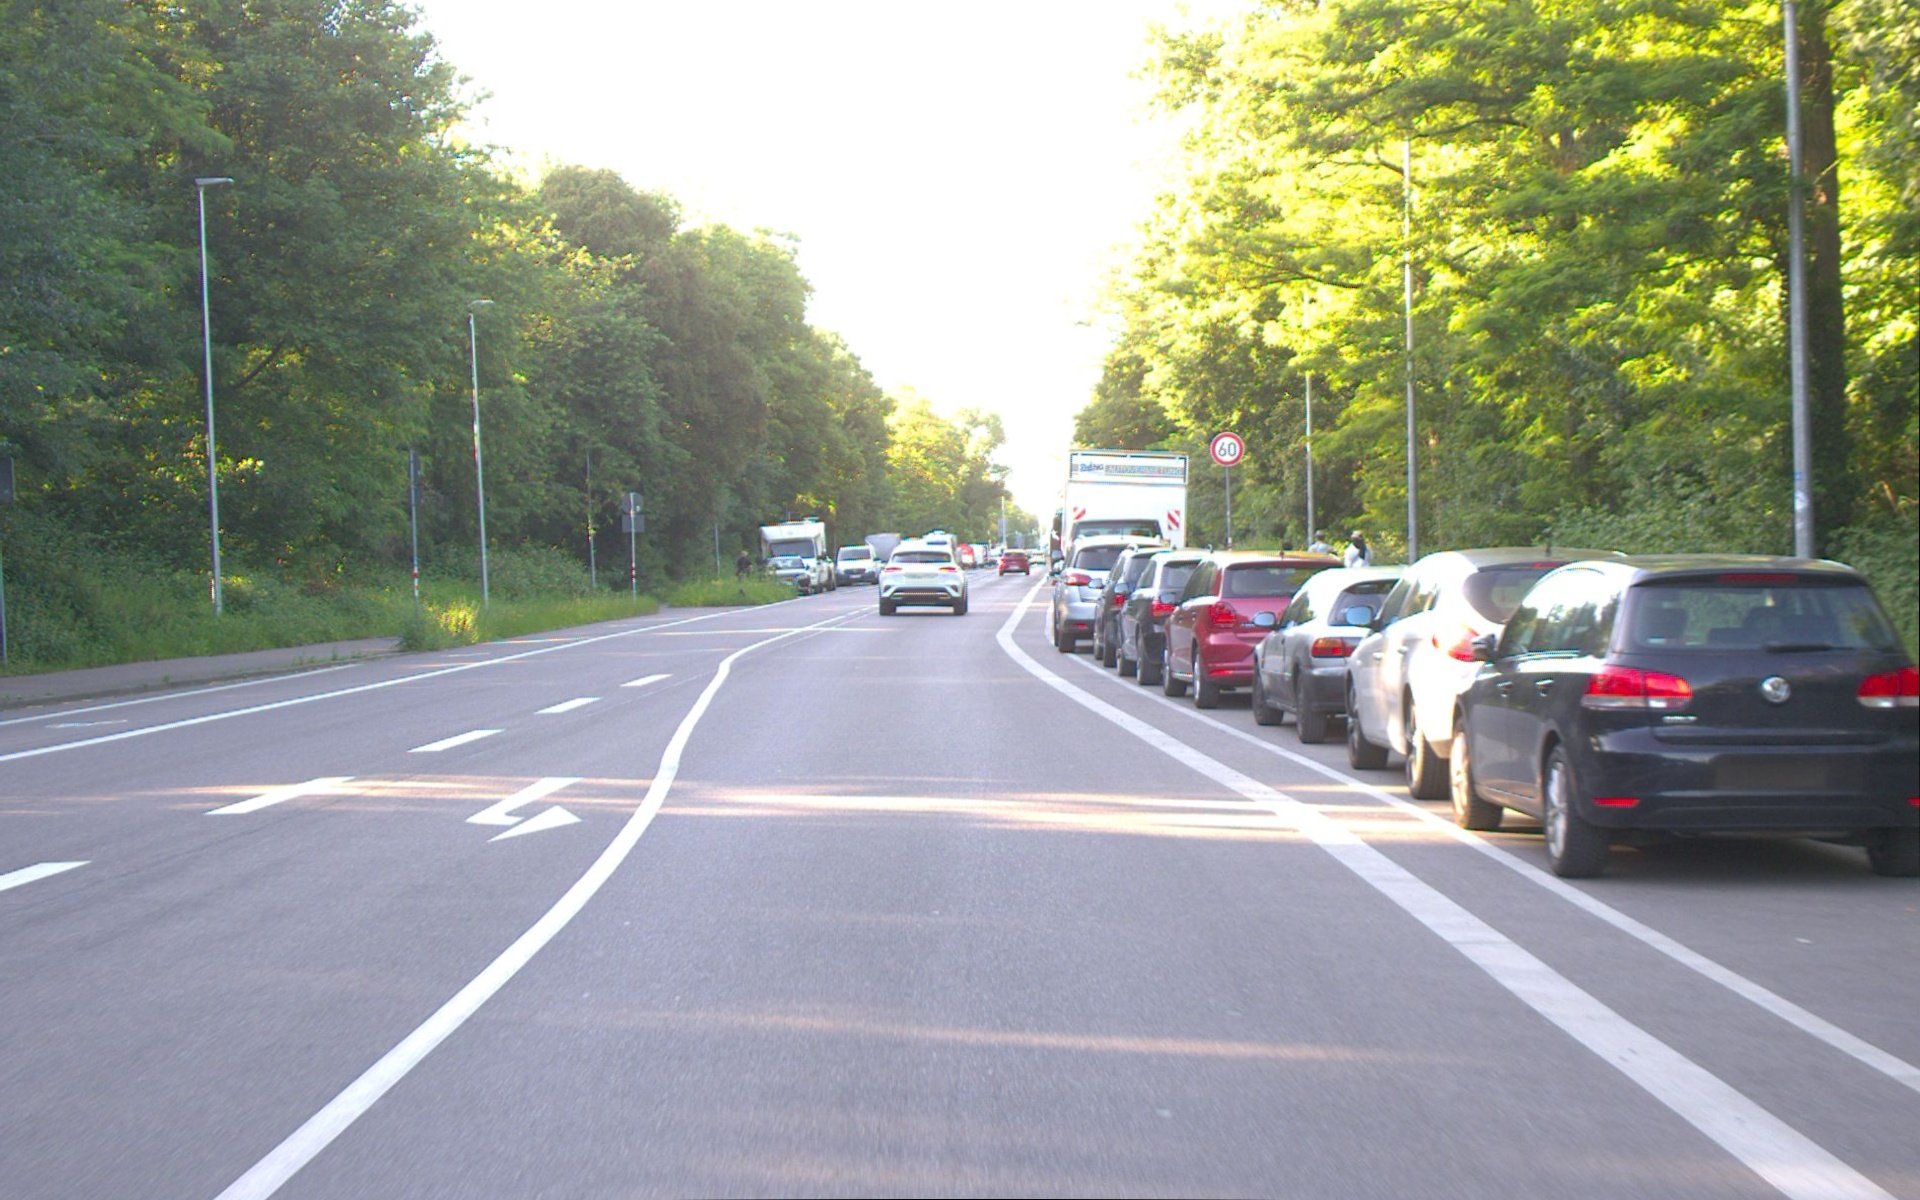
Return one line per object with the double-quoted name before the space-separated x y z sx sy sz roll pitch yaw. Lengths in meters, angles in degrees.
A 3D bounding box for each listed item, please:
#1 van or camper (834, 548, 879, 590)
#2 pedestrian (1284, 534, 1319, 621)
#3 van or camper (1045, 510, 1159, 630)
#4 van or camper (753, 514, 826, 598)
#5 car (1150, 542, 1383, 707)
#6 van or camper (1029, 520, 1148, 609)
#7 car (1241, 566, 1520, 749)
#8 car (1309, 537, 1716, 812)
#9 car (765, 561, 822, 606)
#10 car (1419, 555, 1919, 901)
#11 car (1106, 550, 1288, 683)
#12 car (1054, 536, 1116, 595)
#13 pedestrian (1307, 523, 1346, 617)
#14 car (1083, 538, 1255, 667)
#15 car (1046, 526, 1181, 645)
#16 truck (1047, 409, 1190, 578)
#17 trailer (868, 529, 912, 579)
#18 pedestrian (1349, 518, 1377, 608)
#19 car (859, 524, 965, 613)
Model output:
"van or camper" -4.906 -1.489 163.896 1.835 1.905 4.856 -3 1 1
"pedestrian" 6.272 -0.413 63.104 0.563 1.582 0.482 -2 1 1
"van or camper" 2.513 -0.548 61.022 1.897 2.007 4.586 -1 1 2
"van or camper" -6.397 -1.674 129.791 2.314 2.960 7.111 -3 1 0
"car" 2.852 0.195 32.691 1.616 1.464 3.725 1 1 -4
"van or camper" 4.305 -1.208 113.776 2.442 2.790 6.552 -2 1 15
"car" 3.265 0.403 27.308 1.628 1.315 3.841 0 1 -2
"car" 3.368 0.386 21.742 1.737 1.519 4.360 -1 1 -1
"car" -5.914 -0.614 122.710 1.827 1.471 4.681 -3 1 -1
"car" 3.445 0.531 16.995 1.656 1.447 4.020 -1 1 -2
"car" 2.576 0.142 38.113 1.594 1.396 3.799 0 1 -3
"car" 3.702 -1.037 101.253 1.712 1.659 4.551 1 1 3
"pedestrian" 6.973 -0.582 65.474 0.618 1.758 0.907 -2 1 1
"car" 2.567 -0.007 43.136 1.807 1.514 4.504 1 1 -1
"car" 2.165 -0.232 48.817 1.799 1.589 4.029 -1 1 2
"truck" 3.442 -2.311 76.558 2.832 3.485 8.578 -1 1 1
"trailer" -3.796 -2.518 187.280 1.994 2.589 4.415 -3 1 2
"pedestrian" 7.143 -0.654 60.932 0.394 1.582 0.482 -2 1 1
"car" -1.005 -0.693 74.208 2.029 1.834 4.029 -1 1 2
